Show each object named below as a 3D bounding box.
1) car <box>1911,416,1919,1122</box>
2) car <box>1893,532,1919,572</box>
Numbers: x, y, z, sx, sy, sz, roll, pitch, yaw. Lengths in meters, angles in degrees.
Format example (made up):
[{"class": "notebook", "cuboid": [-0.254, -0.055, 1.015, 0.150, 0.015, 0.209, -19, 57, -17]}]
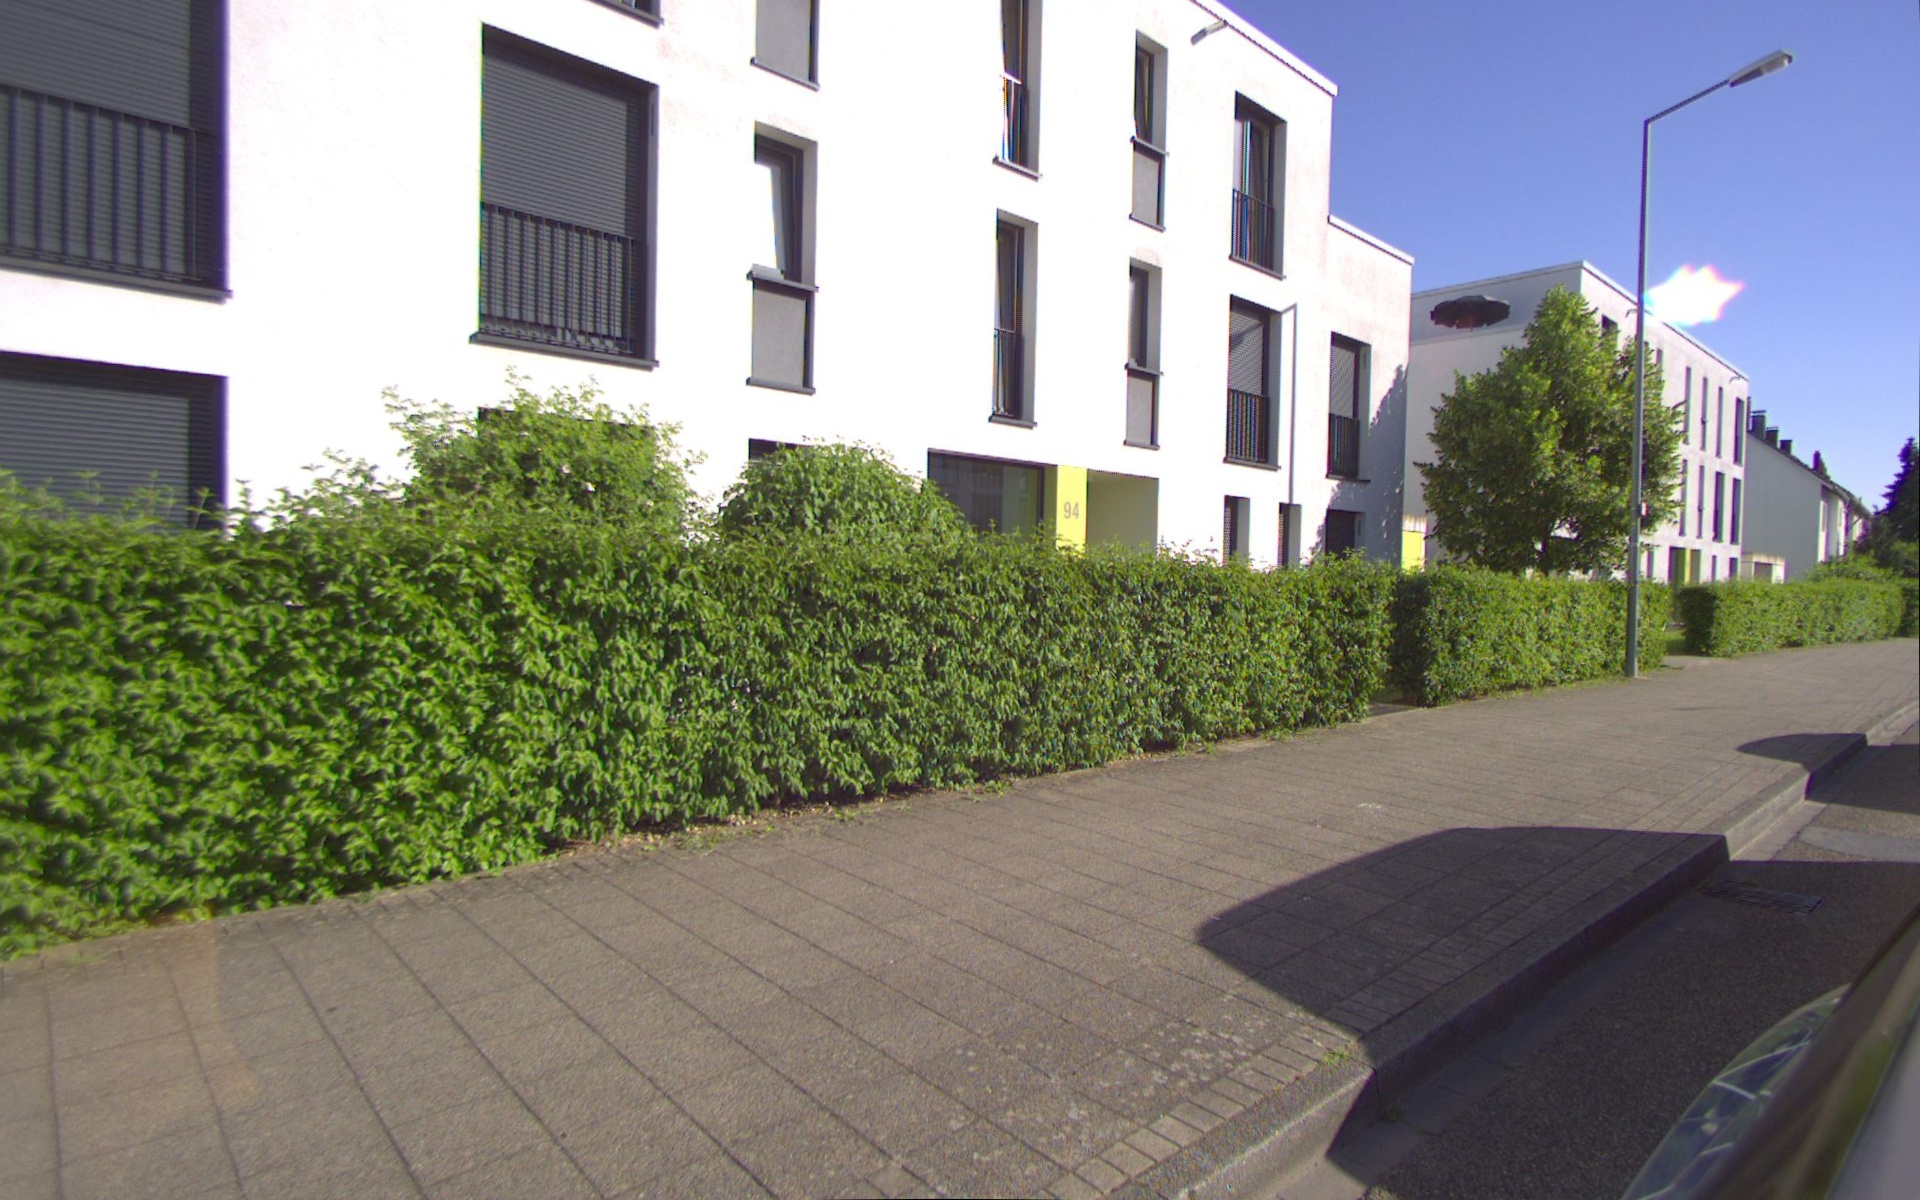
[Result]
[{"class": "car", "cuboid": [5.272, 0.474, 3.697, 4.995, 1.994, 2.126, 0, 0, -41]}, {"class": "car", "cuboid": [61.807, -3.017, 64.167, 6.066, 2.376, 3.181, -1, 1, -40]}]
